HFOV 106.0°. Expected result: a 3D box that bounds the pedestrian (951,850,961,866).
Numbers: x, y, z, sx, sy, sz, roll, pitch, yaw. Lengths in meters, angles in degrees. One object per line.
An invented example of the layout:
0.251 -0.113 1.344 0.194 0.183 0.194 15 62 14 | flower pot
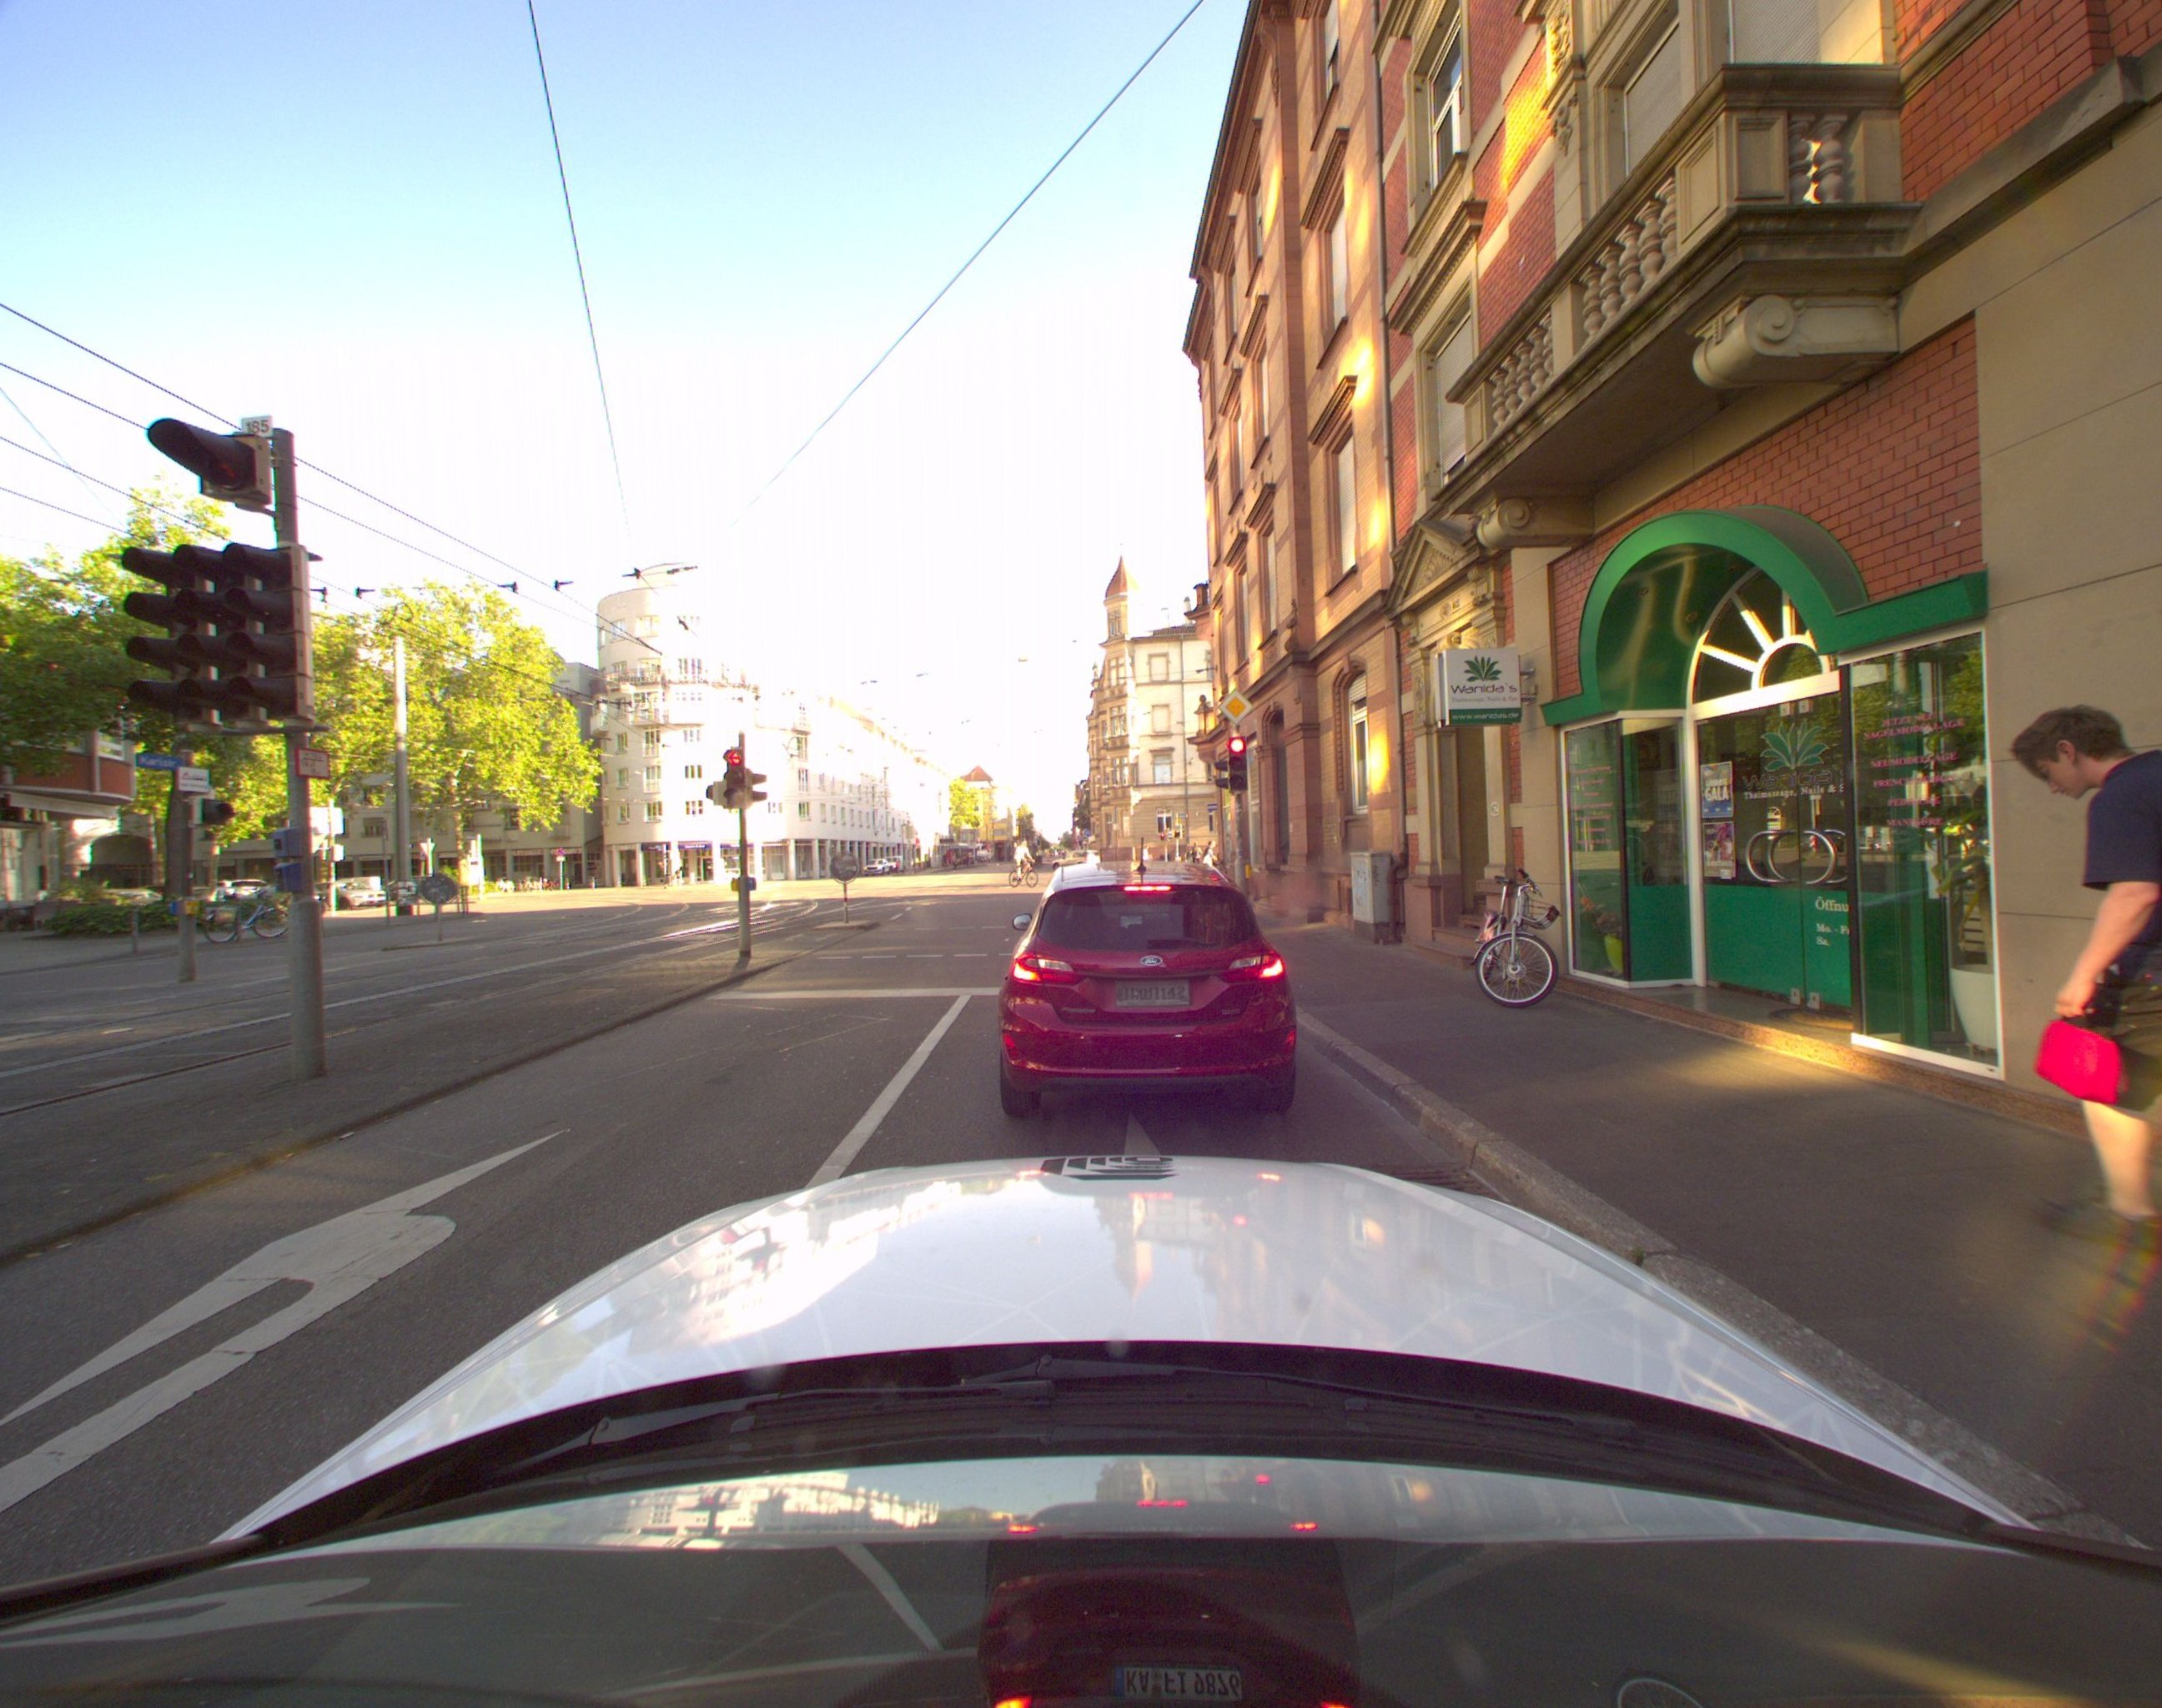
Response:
-15.559 0.490 101.239 0.953 2.013 1.048 -2 0 -1 | pedestrian

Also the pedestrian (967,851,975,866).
-15.143 0.665 111.965 0.954 2.013 1.047 -2 0 -3 | pedestrian

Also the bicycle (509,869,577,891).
-42.848 2.058 64.869 4.685 1.530 1.067 -2 0 2 | bicycle

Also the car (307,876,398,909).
-40.244 2.127 45.031 3.978 1.559 1.636 -2 0 11 | car

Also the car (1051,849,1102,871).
-0.363 0.460 61.507 3.859 1.549 1.463 -2 0 43 | car

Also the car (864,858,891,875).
-20.079 1.188 80.520 1.760 1.546 3.460 -2 0 0 | car

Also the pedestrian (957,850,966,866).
-15.460 0.504 105.472 1.043 2.013 0.958 -2 0 -3 | pedestrian

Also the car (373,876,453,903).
-44.181 2.330 53.915 3.969 1.531 1.618 -2 0 4 | car

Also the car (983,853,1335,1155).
0.313 0.739 6.031 1.750 1.466 3.941 -1 0 -3 | car

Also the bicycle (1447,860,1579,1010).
3.873 0.675 7.436 0.710 1.152 1.662 -4 0 17 | bicycle

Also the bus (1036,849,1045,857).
-10.776 -0.296 217.564 1.919 2.013 7.137 -2 0 1 | bus

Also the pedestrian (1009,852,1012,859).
-17.114 0.420 197.350 0.630 1.604 0.575 -2 0 -18 | pedestrian

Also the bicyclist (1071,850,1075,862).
-1.124 0.294 115.469 0.498 1.676 0.545 -2 0 0 | bicyclist

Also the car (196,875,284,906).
-60.407 2.611 58.595 1.986 1.964 4.001 -2 0 1 | car

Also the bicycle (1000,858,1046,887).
-2.470 0.797 34.535 1.985 1.147 0.815 -2 0 45 | bicycle

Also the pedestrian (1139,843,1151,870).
4.789 0.170 60.763 0.753 2.013 0.654 -2 0 6 | pedestrian

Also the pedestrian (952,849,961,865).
-15.829 0.387 103.431 1.043 2.013 0.958 -2 0 -3 | pedestrian

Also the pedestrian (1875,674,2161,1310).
3.486 0.375 2.521 0.944 1.792 1.054 -3 0 -2 | pedestrian

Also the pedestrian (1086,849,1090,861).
1.105 0.148 134.674 0.574 2.013 0.632 -2 0 5 | pedestrian

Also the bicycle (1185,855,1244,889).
4.929 0.648 30.095 2.035 1.147 0.810 -2 0 1 | bicycle

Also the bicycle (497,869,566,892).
-43.009 2.077 63.732 4.685 1.530 1.067 -2 0 2 | bicycle

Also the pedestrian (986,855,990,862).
-18.329 0.868 160.542 0.579 1.488 0.525 -2 0 -3 | pedestrian

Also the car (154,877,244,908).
-63.326 2.703 58.578 1.986 1.964 4.001 -2 0 1 | car

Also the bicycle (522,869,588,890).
-42.852 2.067 66.421 4.685 1.530 1.067 -2 0 2 | bicycle

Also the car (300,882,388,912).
-36.921 2.159 40.799 3.968 1.295 1.781 -2 0 24 | car

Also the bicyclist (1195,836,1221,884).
4.676 0.207 30.097 0.789 1.726 0.810 -2 0 0 | bicyclist

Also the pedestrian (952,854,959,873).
-11.360 0.830 73.594 0.522 1.681 0.486 -2 0 1 | pedestrian

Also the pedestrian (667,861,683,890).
-29.729 1.571 59.688 0.949 2.013 0.931 -2 0 -29 | pedestrian

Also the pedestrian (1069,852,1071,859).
-2.724 0.353 204.378 0.575 1.887 0.669 -2 0 -1 | pedestrian

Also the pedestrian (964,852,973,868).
-14.304 0.709 103.516 1.043 2.013 0.958 -2 0 -3 | pedestrian

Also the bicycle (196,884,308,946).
-19.752 1.420 19.459 0.668 1.327 1.907 1 0 2 | bicycle

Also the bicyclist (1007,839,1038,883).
-2.469 0.306 34.553 0.981 1.821 0.815 -2 0 45 | bicyclist

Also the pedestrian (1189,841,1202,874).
6.285 0.182 44.579 0.558 1.755 0.650 -3 0 1 | pedestrian

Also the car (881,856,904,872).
-20.386 1.070 88.140 1.696 1.718 3.562 -2 0 -1 | car
